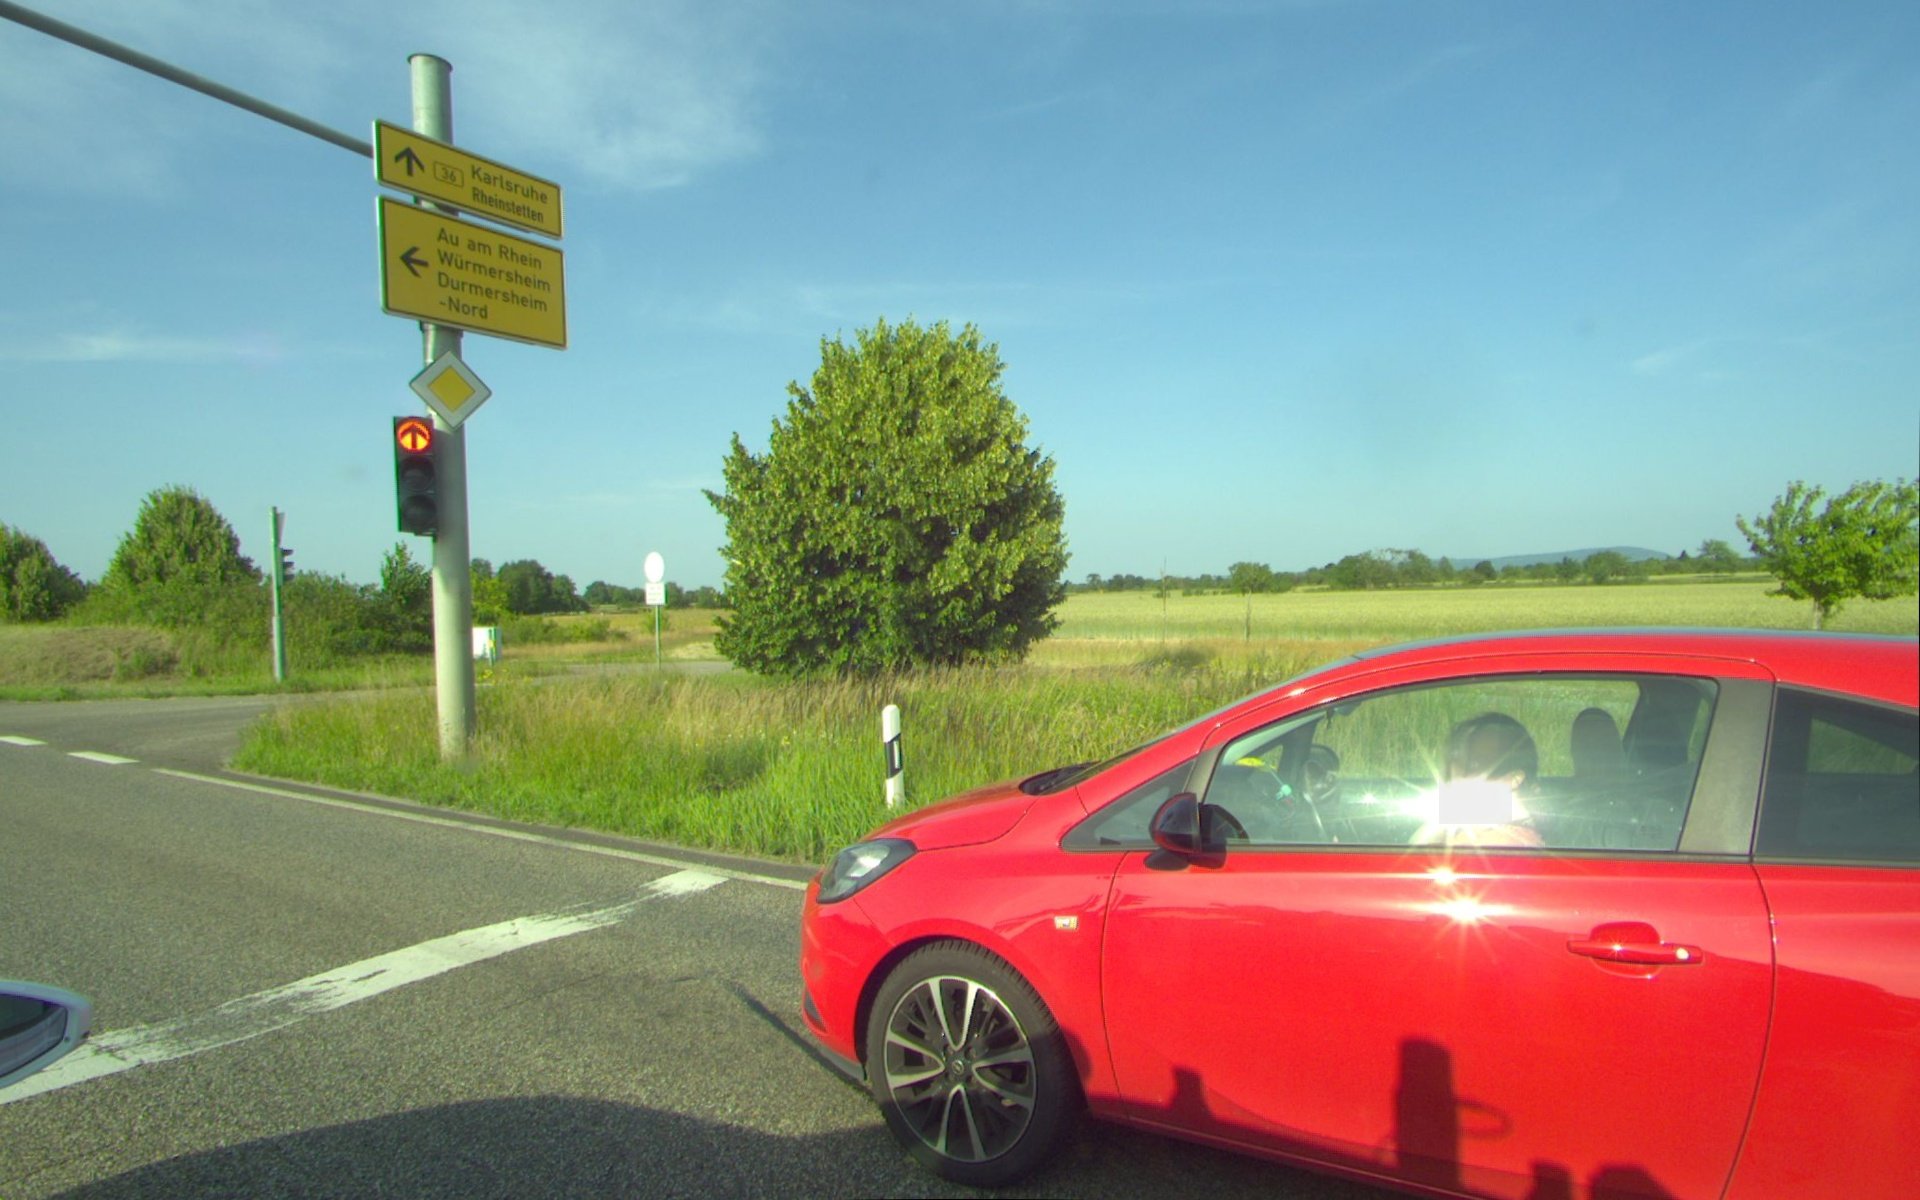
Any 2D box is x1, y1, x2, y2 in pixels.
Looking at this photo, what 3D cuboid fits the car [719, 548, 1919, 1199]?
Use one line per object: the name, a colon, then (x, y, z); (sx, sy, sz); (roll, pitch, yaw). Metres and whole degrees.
car: (1.302, 0.713, 2.838); (3.693, 1.569, 1.695); (-1, 0, 29)
